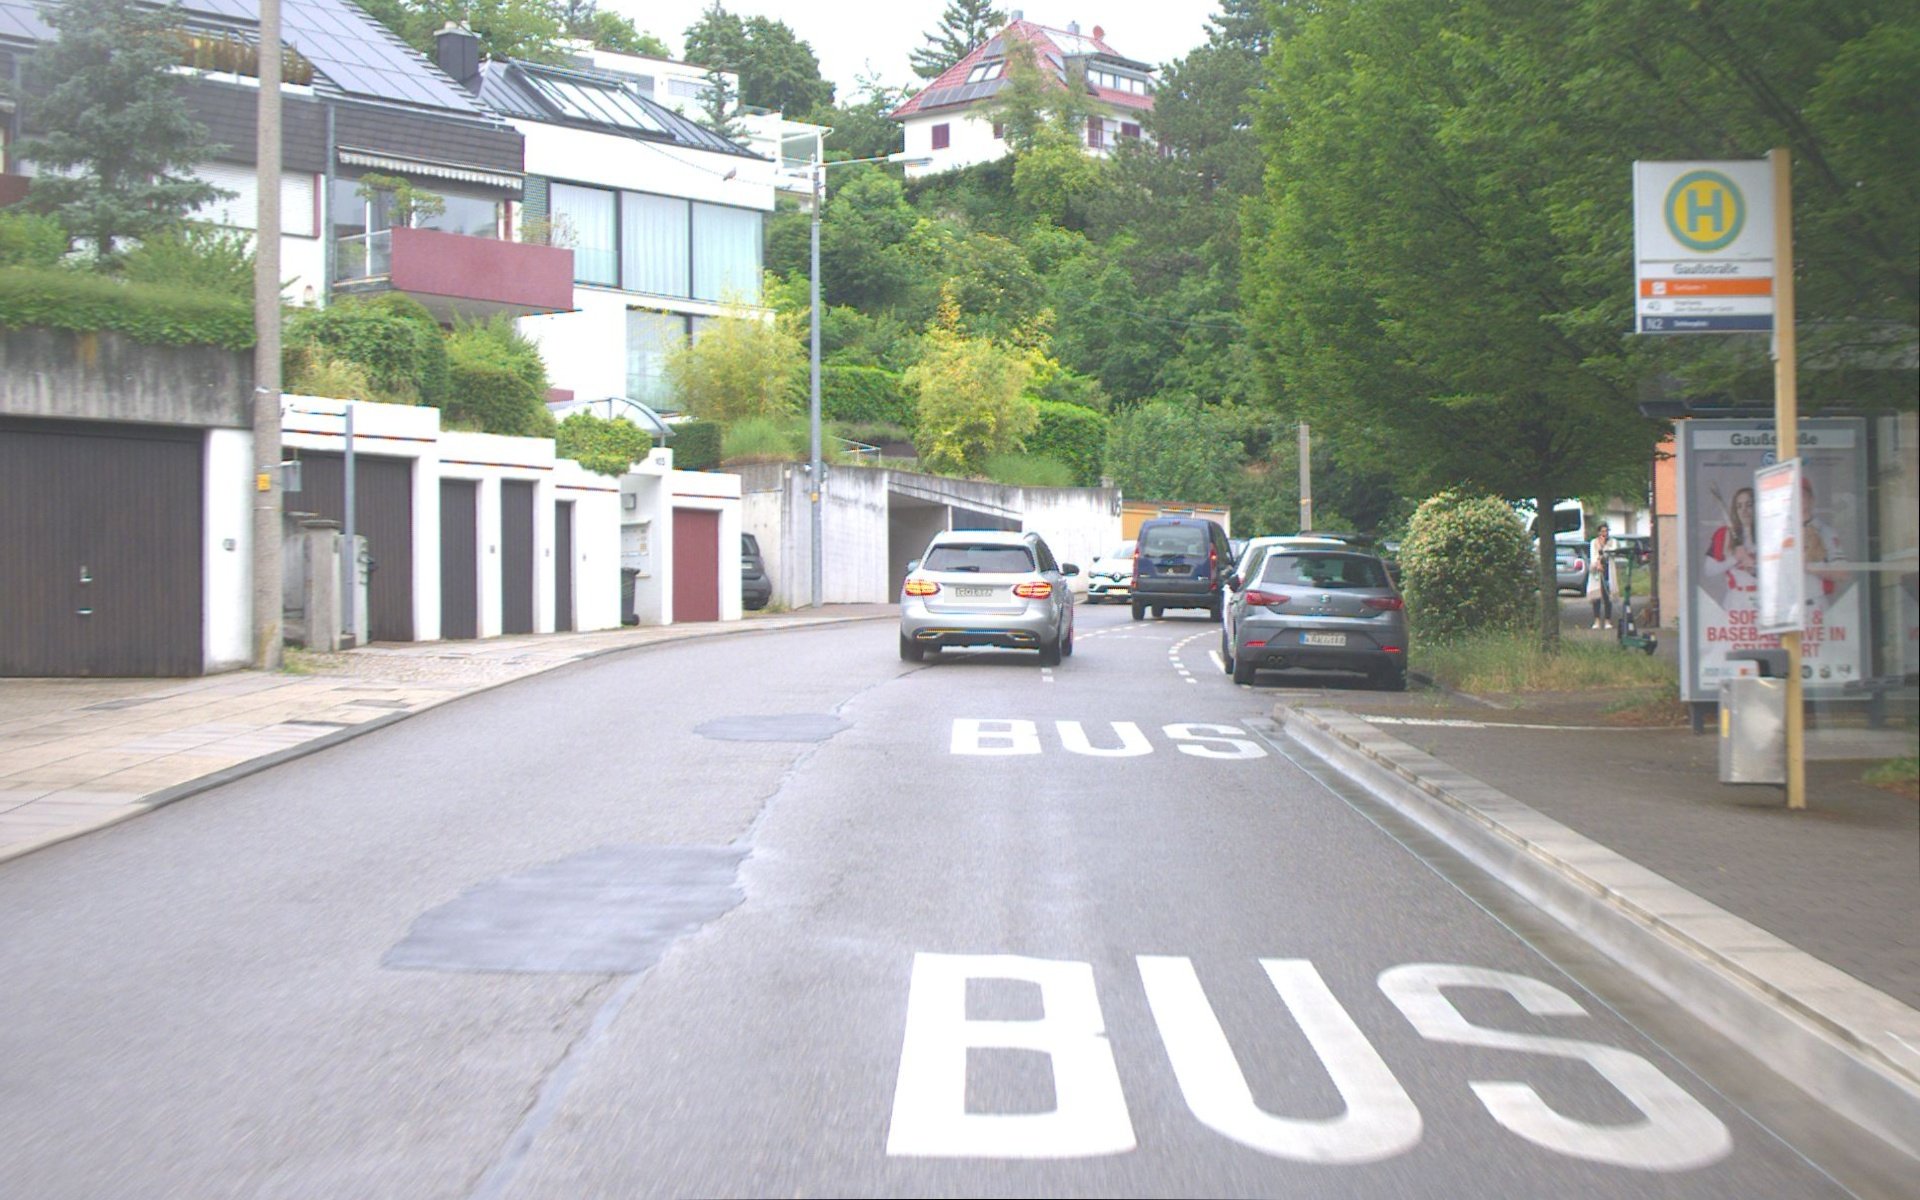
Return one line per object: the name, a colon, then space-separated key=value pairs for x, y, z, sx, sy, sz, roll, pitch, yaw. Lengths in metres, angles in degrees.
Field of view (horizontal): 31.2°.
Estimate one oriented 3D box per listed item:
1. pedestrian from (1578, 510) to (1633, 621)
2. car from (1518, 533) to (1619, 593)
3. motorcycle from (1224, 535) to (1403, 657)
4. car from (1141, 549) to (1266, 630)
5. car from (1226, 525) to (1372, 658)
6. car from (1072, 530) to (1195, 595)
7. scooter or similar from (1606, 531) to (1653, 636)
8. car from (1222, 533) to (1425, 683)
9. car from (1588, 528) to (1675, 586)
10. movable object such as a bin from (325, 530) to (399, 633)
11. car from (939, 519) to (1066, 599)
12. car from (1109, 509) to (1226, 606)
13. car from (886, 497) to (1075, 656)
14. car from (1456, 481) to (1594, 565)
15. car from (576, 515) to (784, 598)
pedestrian: x=10.244 y=-0.550 z=54.598 sx=0.760 sy=1.714 sz=0.902 roll=-3 pitch=1 yaw=9
car: x=15.825 y=-0.983 z=89.280 sx=1.671 sy=1.466 sz=3.705 roll=2 pitch=2 yaw=25
motorcycle: x=4.009 y=-0.050 z=39.120 sx=1.913 sy=1.325 sz=0.788 roll=1 pitch=2 yaw=-1
car: x=5.342 y=-0.258 z=74.940 sx=1.995 sy=1.702 sz=3.997 roll=1 pitch=1 yaw=15
car: x=4.100 y=-0.146 z=41.944 sx=1.657 sy=1.484 sz=4.000 roll=1 pitch=2 yaw=5
car: x=4.037 y=-0.874 z=79.267 sx=1.834 sy=1.435 sz=4.036 roll=0 pitch=1 yaw=18
scooter or similar: x=7.997 y=-0.205 z=41.101 sx=0.413 sy=1.241 sz=1.175 roll=0 pitch=1 yaw=4
car: x=3.727 y=0.035 z=35.871 sx=1.878 sy=1.411 sz=4.467 roll=1 pitch=2 yaw=3
car: x=18.660 y=-1.216 z=95.527 sx=1.629 sy=1.557 sz=3.018 roll=1 pitch=2 yaw=26
movable object such as a bin: x=-6.796 y=-0.210 z=39.082 sx=0.528 sy=1.142 sz=0.599 roll=2 pitch=0 yaw=45
car: x=0.872 y=-0.820 z=67.865 sx=1.628 sy=1.510 sz=3.830 roll=0 pitch=1 yaw=15
car: x=3.820 y=-0.787 z=62.705 sx=1.994 sy=1.702 sz=3.999 roll=0 pitch=1 yaw=5
car: x=0.240 y=-0.290 z=39.126 sx=2.025 sy=1.702 sz=4.216 roll=0 pitch=1 yaw=1
car: x=17.914 y=-2.460 z=108.700 sx=2.098 sy=2.541 sz=6.086 roll=0 pitch=2 yaw=32
car: x=-5.423 y=-0.858 z=66.314 sx=3.929 sy=1.473 sz=1.763 roll=3 pitch=3 yaw=43
